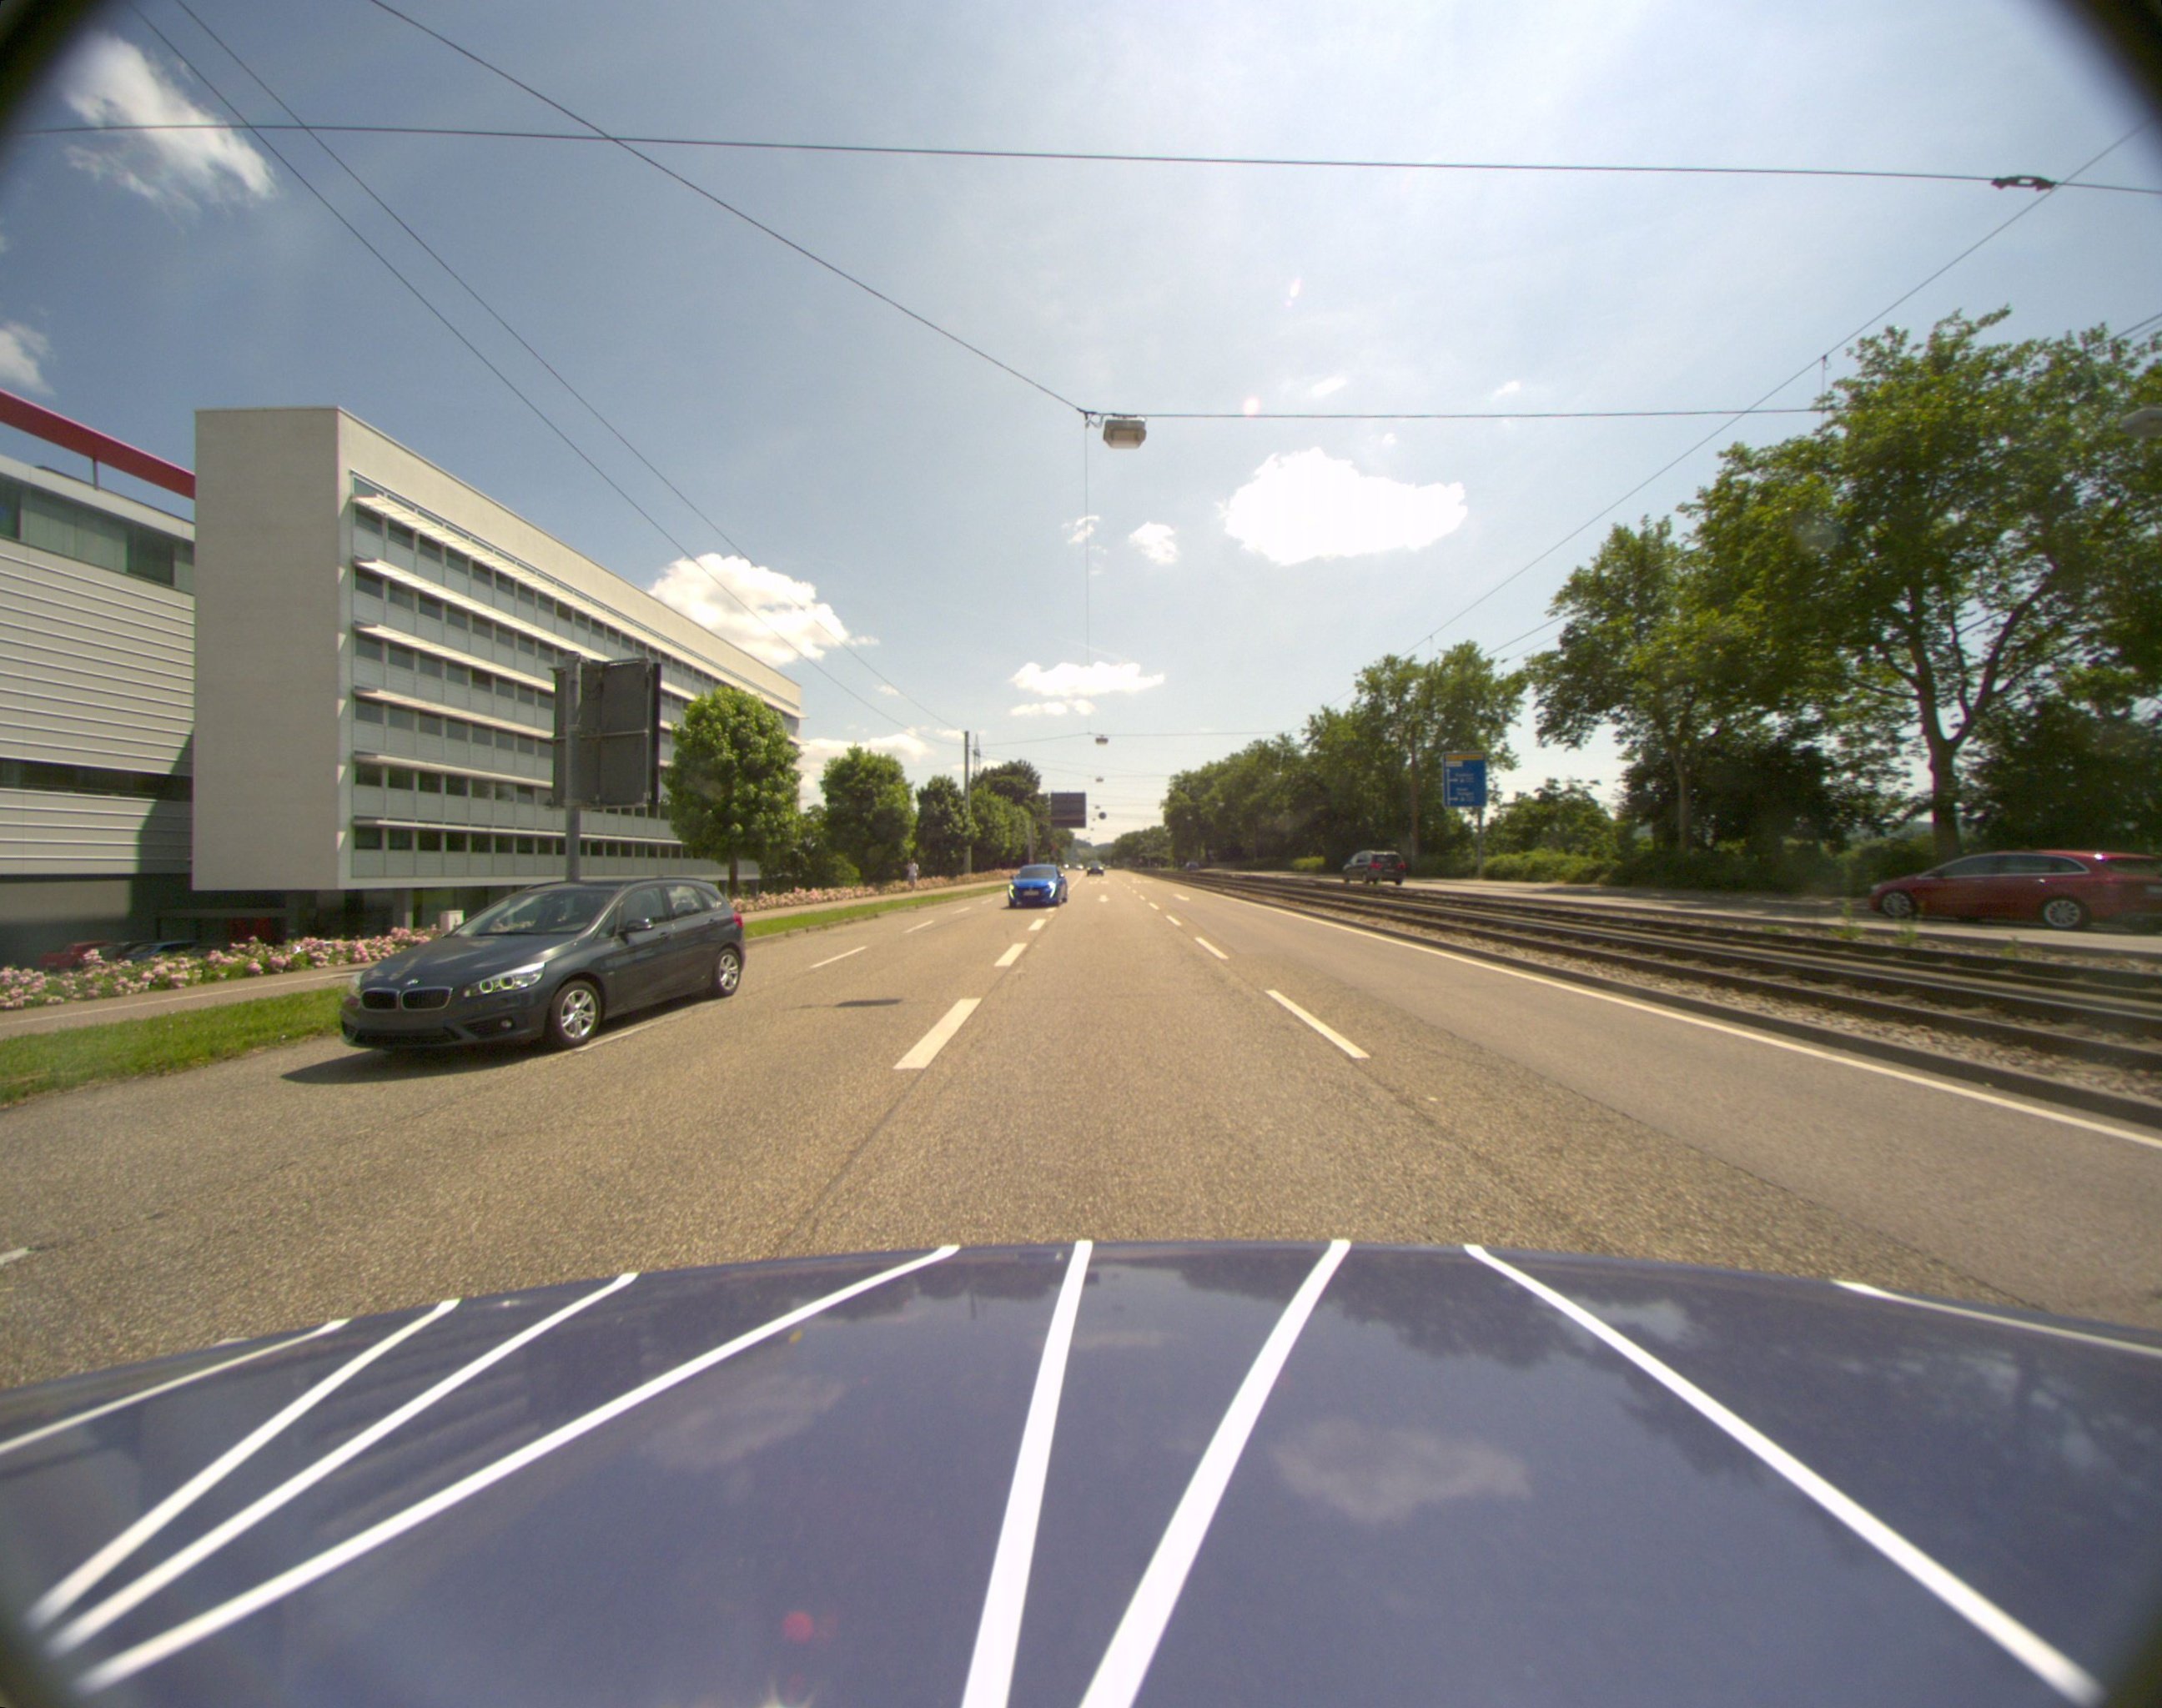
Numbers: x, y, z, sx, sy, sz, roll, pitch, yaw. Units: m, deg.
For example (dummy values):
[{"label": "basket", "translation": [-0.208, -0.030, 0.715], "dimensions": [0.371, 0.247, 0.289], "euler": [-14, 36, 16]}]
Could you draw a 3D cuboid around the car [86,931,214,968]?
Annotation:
[{"label": "car", "translation": [-48.091, 4.907, 39.383], "dimensions": [1.648, 1.377, 4.000], "euler": [-2, 0, 1]}]

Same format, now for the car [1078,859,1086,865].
[{"label": "car", "translation": [0.239, 2.017, 189.773], "dimensions": [1.896, 1.331, 4.000], "euler": [-2, 0, 1]}]

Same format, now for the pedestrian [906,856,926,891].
[{"label": "pedestrian", "translation": [-8.888, 1.030, 40.852], "dimensions": [0.758, 1.838, 0.931], "euler": [-2, 0, 3]}]

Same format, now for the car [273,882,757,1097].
[{"label": "car", "translation": [-5.402, 1.166, 8.089], "dimensions": [1.764, 1.517, 4.101], "euler": [-2, 0, 6]}]

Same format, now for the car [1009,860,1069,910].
[{"label": "car", "translation": [-1.390, 1.022, 26.702], "dimensions": [1.842, 1.446, 3.999], "euler": [-2, 2, 0]}]

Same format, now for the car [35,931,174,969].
[{"label": "car", "translation": [-50.932, 4.978, 39.773], "dimensions": [1.998, 1.438, 4.000], "euler": [-2, 0, 1]}]

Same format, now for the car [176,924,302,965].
[{"label": "car", "translation": [-43.586, 4.639, 39.486], "dimensions": [1.998, 1.602, 4.000], "euler": [-2, 0, 1]}]

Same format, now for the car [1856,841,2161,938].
[{"label": "car", "translation": [18.977, 0.633, 15.369], "dimensions": [1.999, 1.660, 4.468], "euler": [1, 0, -1]}]

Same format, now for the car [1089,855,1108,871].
[{"label": "car", "translation": [1.827, 0.934, 80.981], "dimensions": [1.898, 1.564, 4.511], "euler": [-2, 0, 1]}]

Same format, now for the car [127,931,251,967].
[{"label": "car", "translation": [-45.991, 4.866, 39.314], "dimensions": [1.609, 1.314, 4.000], "euler": [-2, 0, 1]}]

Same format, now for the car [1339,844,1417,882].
[{"label": "car", "translation": [15.246, 0.452, 39.357], "dimensions": [1.999, 1.820, 4.969], "euler": [1, 0, -1]}]

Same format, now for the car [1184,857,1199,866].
[{"label": "car", "translation": [18.394, 1.262, 126.401], "dimensions": [1.803, 1.495, 4.735], "euler": [1, 0, -1]}]
